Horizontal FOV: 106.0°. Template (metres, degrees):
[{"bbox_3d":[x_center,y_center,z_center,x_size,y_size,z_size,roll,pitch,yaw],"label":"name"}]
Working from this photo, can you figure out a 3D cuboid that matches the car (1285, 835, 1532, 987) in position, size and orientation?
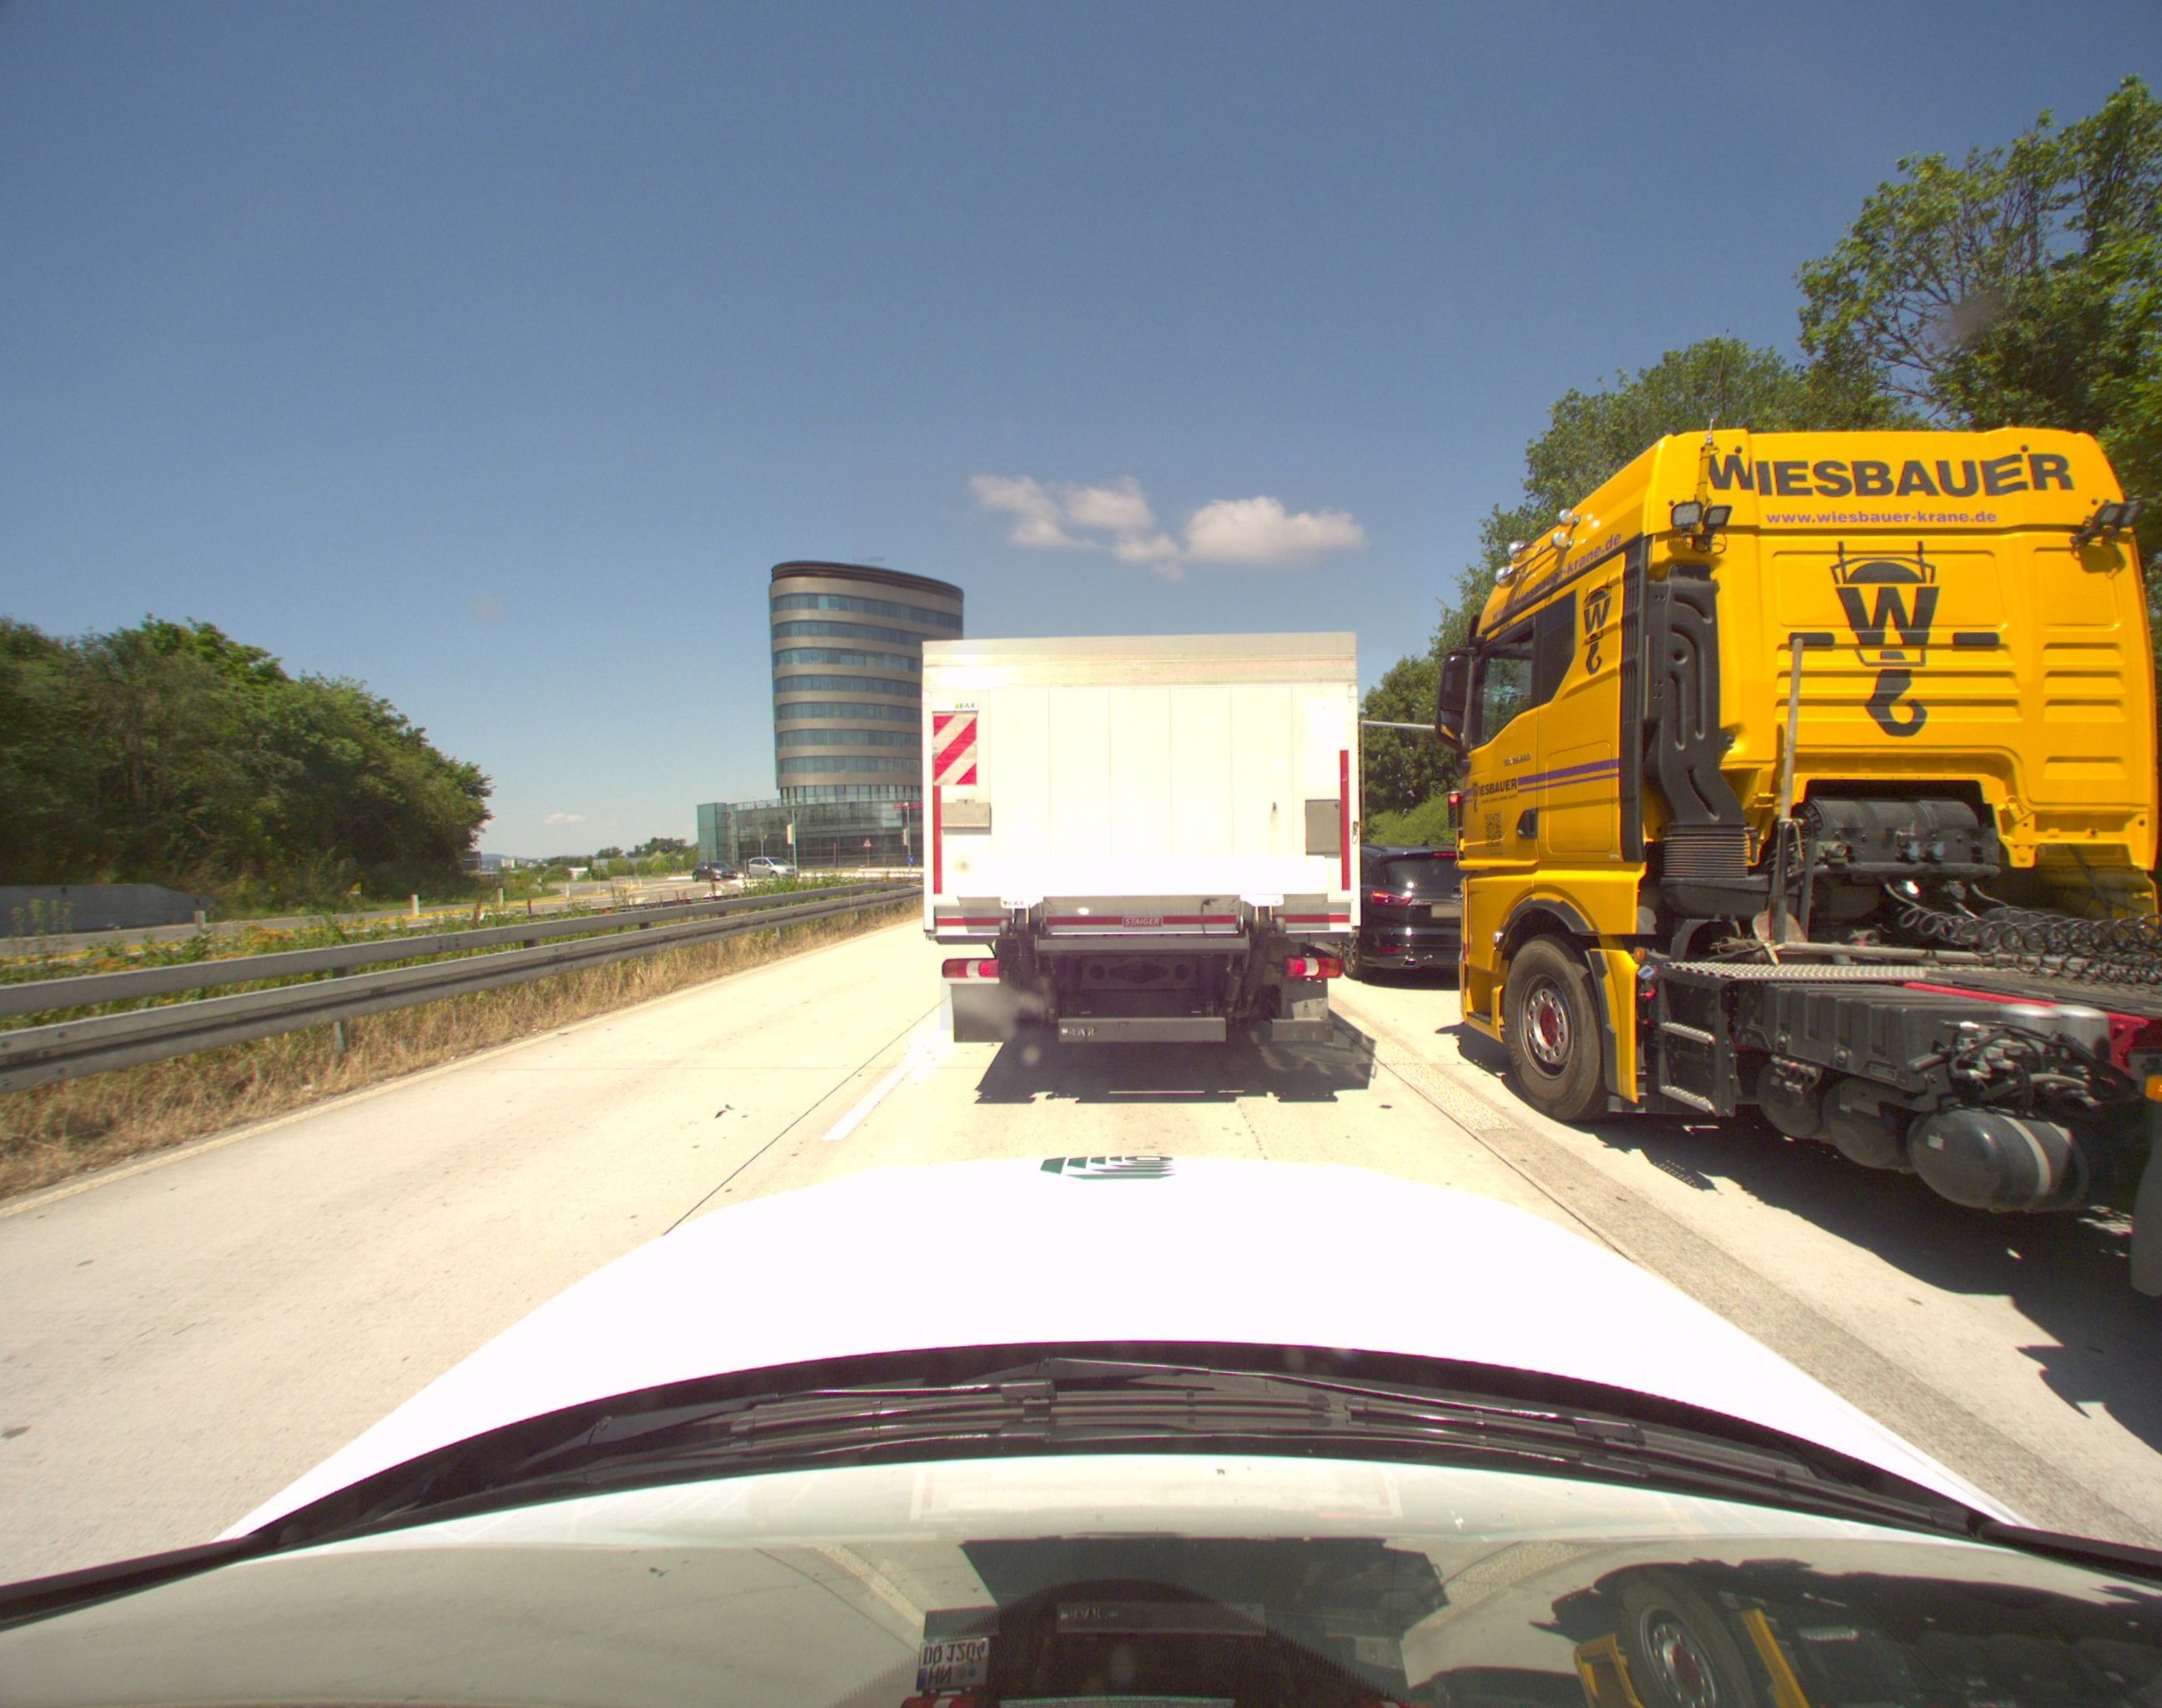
[{"bbox_3d":[4.104,0.635,11.108,1.776,1.639,4.652,0,-1,4],"label":"car"}]

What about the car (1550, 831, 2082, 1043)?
[{"bbox_3d":[7.726,0.727,9.420,1.763,1.807,4.789,0,-1,-2],"label":"car"}]

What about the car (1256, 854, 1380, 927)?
[{"bbox_3d":[5.133,0.737,18.258,1.759,1.410,4.615,0,-1,5],"label":"car"}]

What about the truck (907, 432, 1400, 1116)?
[{"bbox_3d":[0.549,-0.422,9.299,2.759,3.860,9.374,0,-1,2],"label":"truck"}]

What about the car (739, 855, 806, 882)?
[{"bbox_3d":[-20.670,0.982,54.577,4.274,1.595,1.788,-3,-2,29],"label":"car"}]

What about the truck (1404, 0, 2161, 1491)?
[{"bbox_3d":[3.927,-0.462,2.444,3.003,3.772,7.470,0,0,0],"label":"truck"}]

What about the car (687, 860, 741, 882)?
[{"bbox_3d":[-26.699,1.232,59.151,4.273,1.456,1.708,-3,-2,37],"label":"car"}]
